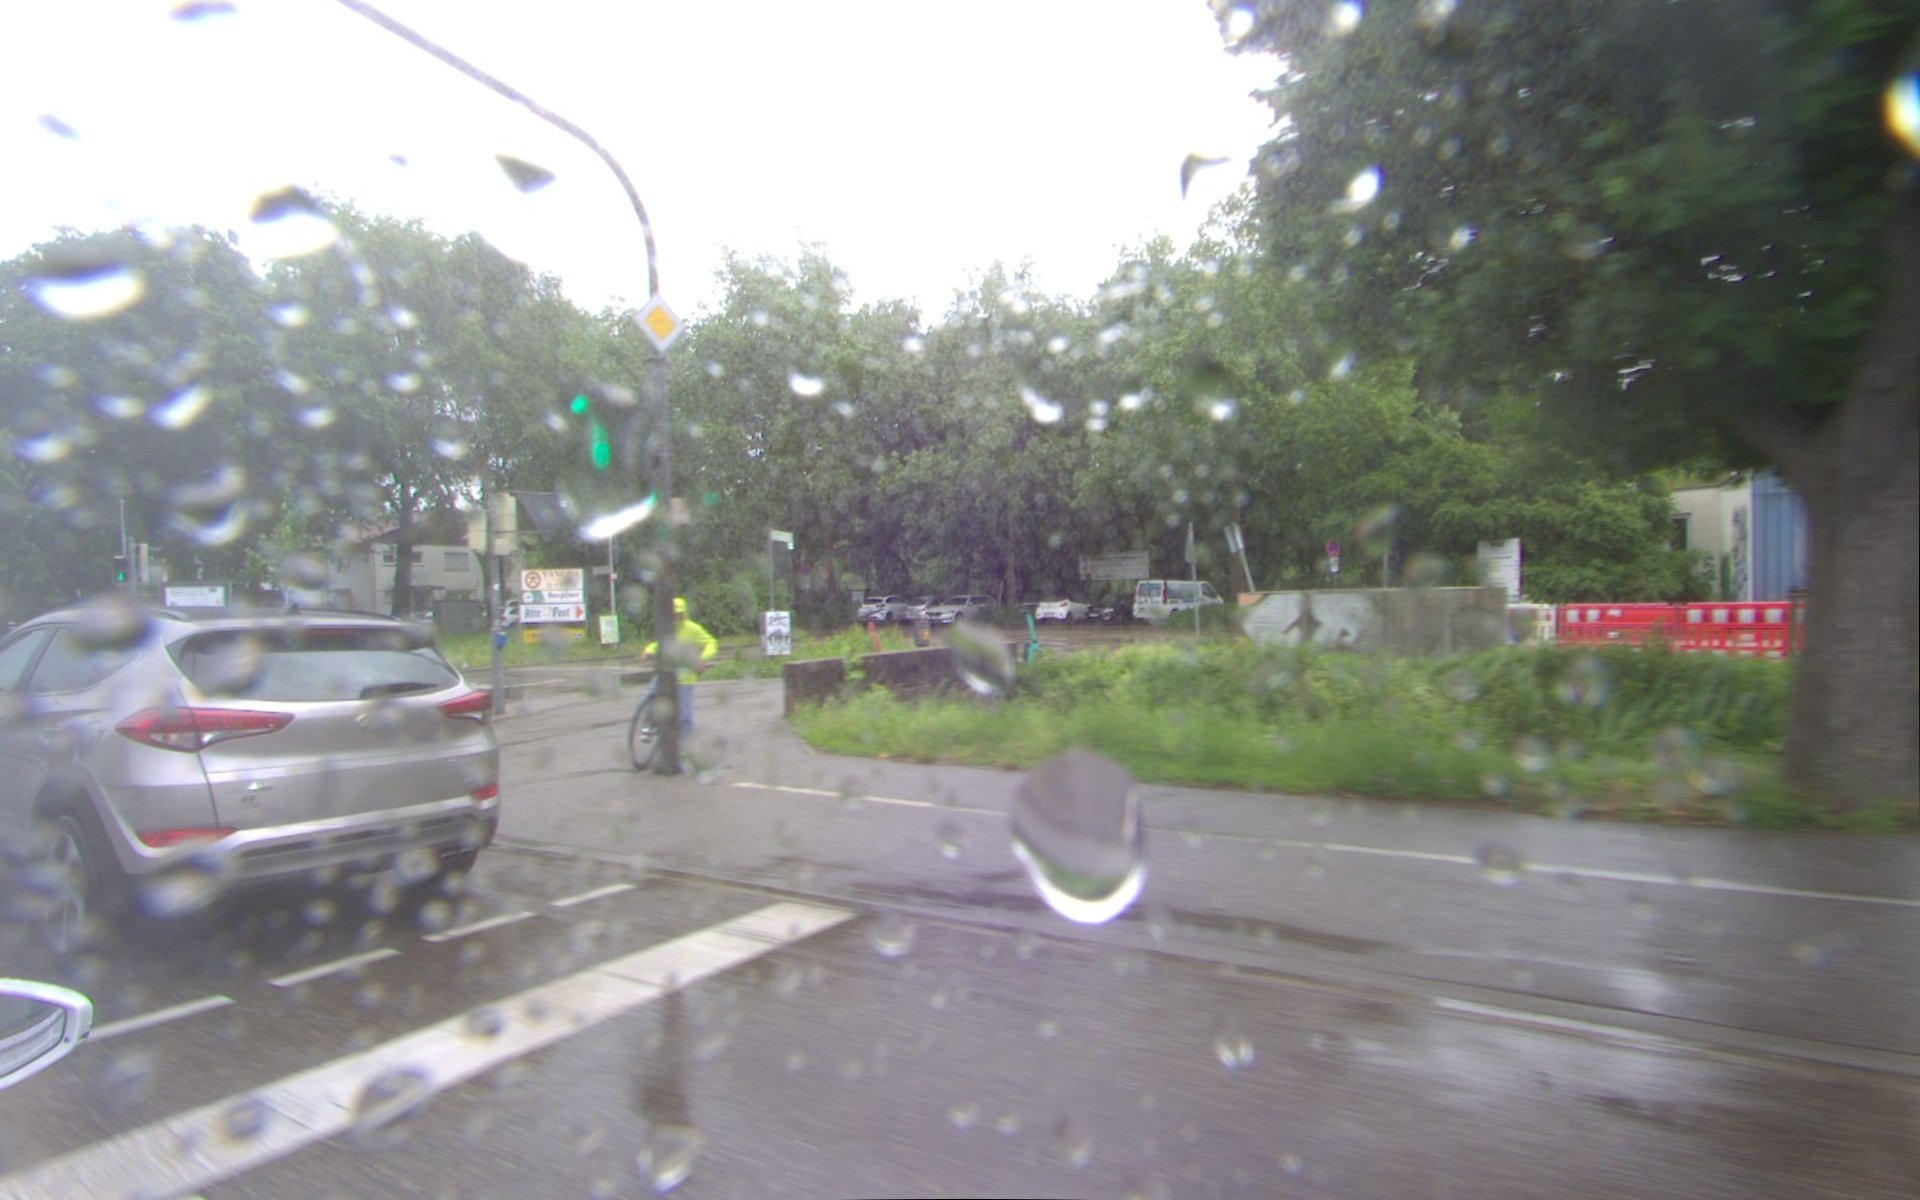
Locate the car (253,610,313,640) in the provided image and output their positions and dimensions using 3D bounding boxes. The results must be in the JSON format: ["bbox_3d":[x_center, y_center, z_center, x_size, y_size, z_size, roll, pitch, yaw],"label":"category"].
[{"bbox_3d":[-34.785,1.317,51.562,1.641,1.467,3.745,0,-2,-19],"label":"car"}]

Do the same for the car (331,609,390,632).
[{"bbox_3d":[-39.260,1.362,65.586,3.940,1.403,1.582,-2,-2,30],"label":"car"}]

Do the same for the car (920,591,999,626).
[{"bbox_3d":[0.036,0.487,50.748,1.898,1.651,4.579,-2,-2,32],"label":"car"}]

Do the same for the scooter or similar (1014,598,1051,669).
[{"bbox_3d":[1.240,0.571,17.231,0.553,1.192,0.284,0,1,39],"label":"scooter or similar"}]

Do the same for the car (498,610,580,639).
[{"bbox_3d":[-22.029,1.287,52.496,1.647,1.467,3.702,-2,-2,33],"label":"car"}]

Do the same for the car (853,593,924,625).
[{"bbox_3d":[-3.828,0.535,54.419,1.894,1.603,4.589,-1,-2,23],"label":"car"}]

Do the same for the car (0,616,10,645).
[{"bbox_3d":[-60.078,1.933,60.977,4.573,1.740,1.990,-2,1,30],"label":"car"}]

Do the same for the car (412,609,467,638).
[{"bbox_3d":[-27.821,1.284,53.597,1.573,1.467,3.751,-1,-2,-10],"label":"car"}]

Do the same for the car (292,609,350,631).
[{"bbox_3d":[-40.395,1.264,63.328,3.646,1.332,1.570,-2,-2,29],"label":"car"}]

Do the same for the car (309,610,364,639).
[{"bbox_3d":[-32.697,1.322,52.613,1.641,1.467,3.745,0,-2,-19],"label":"car"}]

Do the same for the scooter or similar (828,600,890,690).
[{"bbox_3d":[-1.448,0.632,14.447,0.318,1.246,0.954,0,1,37],"label":"scooter or similar"}]

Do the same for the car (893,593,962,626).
[{"bbox_3d":[-1.658,0.551,53.118,1.894,1.603,4.589,-1,-2,23],"label":"car"}]

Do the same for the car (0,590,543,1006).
[{"bbox_3d":[-4.545,0.830,5.849,4.135,1.631,1.881,-1,-1,32],"label":"car"}]

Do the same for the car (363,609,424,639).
[{"bbox_3d":[-29.874,1.290,52.908,1.638,1.467,3.751,-1,-2,-10],"label":"car"}]

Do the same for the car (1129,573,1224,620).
[{"bbox_3d":[9.769,-0.130,45.070,4.144,1.990,1.912,0,-2,-37],"label":"car"}]

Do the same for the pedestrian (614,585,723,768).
[{"bbox_3d":[-2.876,0.732,9.955,0.774,1.702,0.668,-3,4,-1],"label":"pedestrian"}]

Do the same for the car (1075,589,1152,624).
[{"bbox_3d":[7.120,0.333,46.282,1.900,1.508,4.171,-2,-2,34],"label":"car"}]

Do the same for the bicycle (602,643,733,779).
[{"bbox_3d":[-2.860,1.049,9.990,0.774,1.053,1.663,-3,3,-1],"label":"bicycle"}]

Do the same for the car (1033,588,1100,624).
[{"bbox_3d":[5.146,0.321,48.095,1.697,1.617,3.648,-2,-2,34],"label":"car"}]

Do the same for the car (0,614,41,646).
[{"bbox_3d":[-55.451,1.777,57.889,4.806,1.740,1.990,-2,1,30],"label":"car"}]
